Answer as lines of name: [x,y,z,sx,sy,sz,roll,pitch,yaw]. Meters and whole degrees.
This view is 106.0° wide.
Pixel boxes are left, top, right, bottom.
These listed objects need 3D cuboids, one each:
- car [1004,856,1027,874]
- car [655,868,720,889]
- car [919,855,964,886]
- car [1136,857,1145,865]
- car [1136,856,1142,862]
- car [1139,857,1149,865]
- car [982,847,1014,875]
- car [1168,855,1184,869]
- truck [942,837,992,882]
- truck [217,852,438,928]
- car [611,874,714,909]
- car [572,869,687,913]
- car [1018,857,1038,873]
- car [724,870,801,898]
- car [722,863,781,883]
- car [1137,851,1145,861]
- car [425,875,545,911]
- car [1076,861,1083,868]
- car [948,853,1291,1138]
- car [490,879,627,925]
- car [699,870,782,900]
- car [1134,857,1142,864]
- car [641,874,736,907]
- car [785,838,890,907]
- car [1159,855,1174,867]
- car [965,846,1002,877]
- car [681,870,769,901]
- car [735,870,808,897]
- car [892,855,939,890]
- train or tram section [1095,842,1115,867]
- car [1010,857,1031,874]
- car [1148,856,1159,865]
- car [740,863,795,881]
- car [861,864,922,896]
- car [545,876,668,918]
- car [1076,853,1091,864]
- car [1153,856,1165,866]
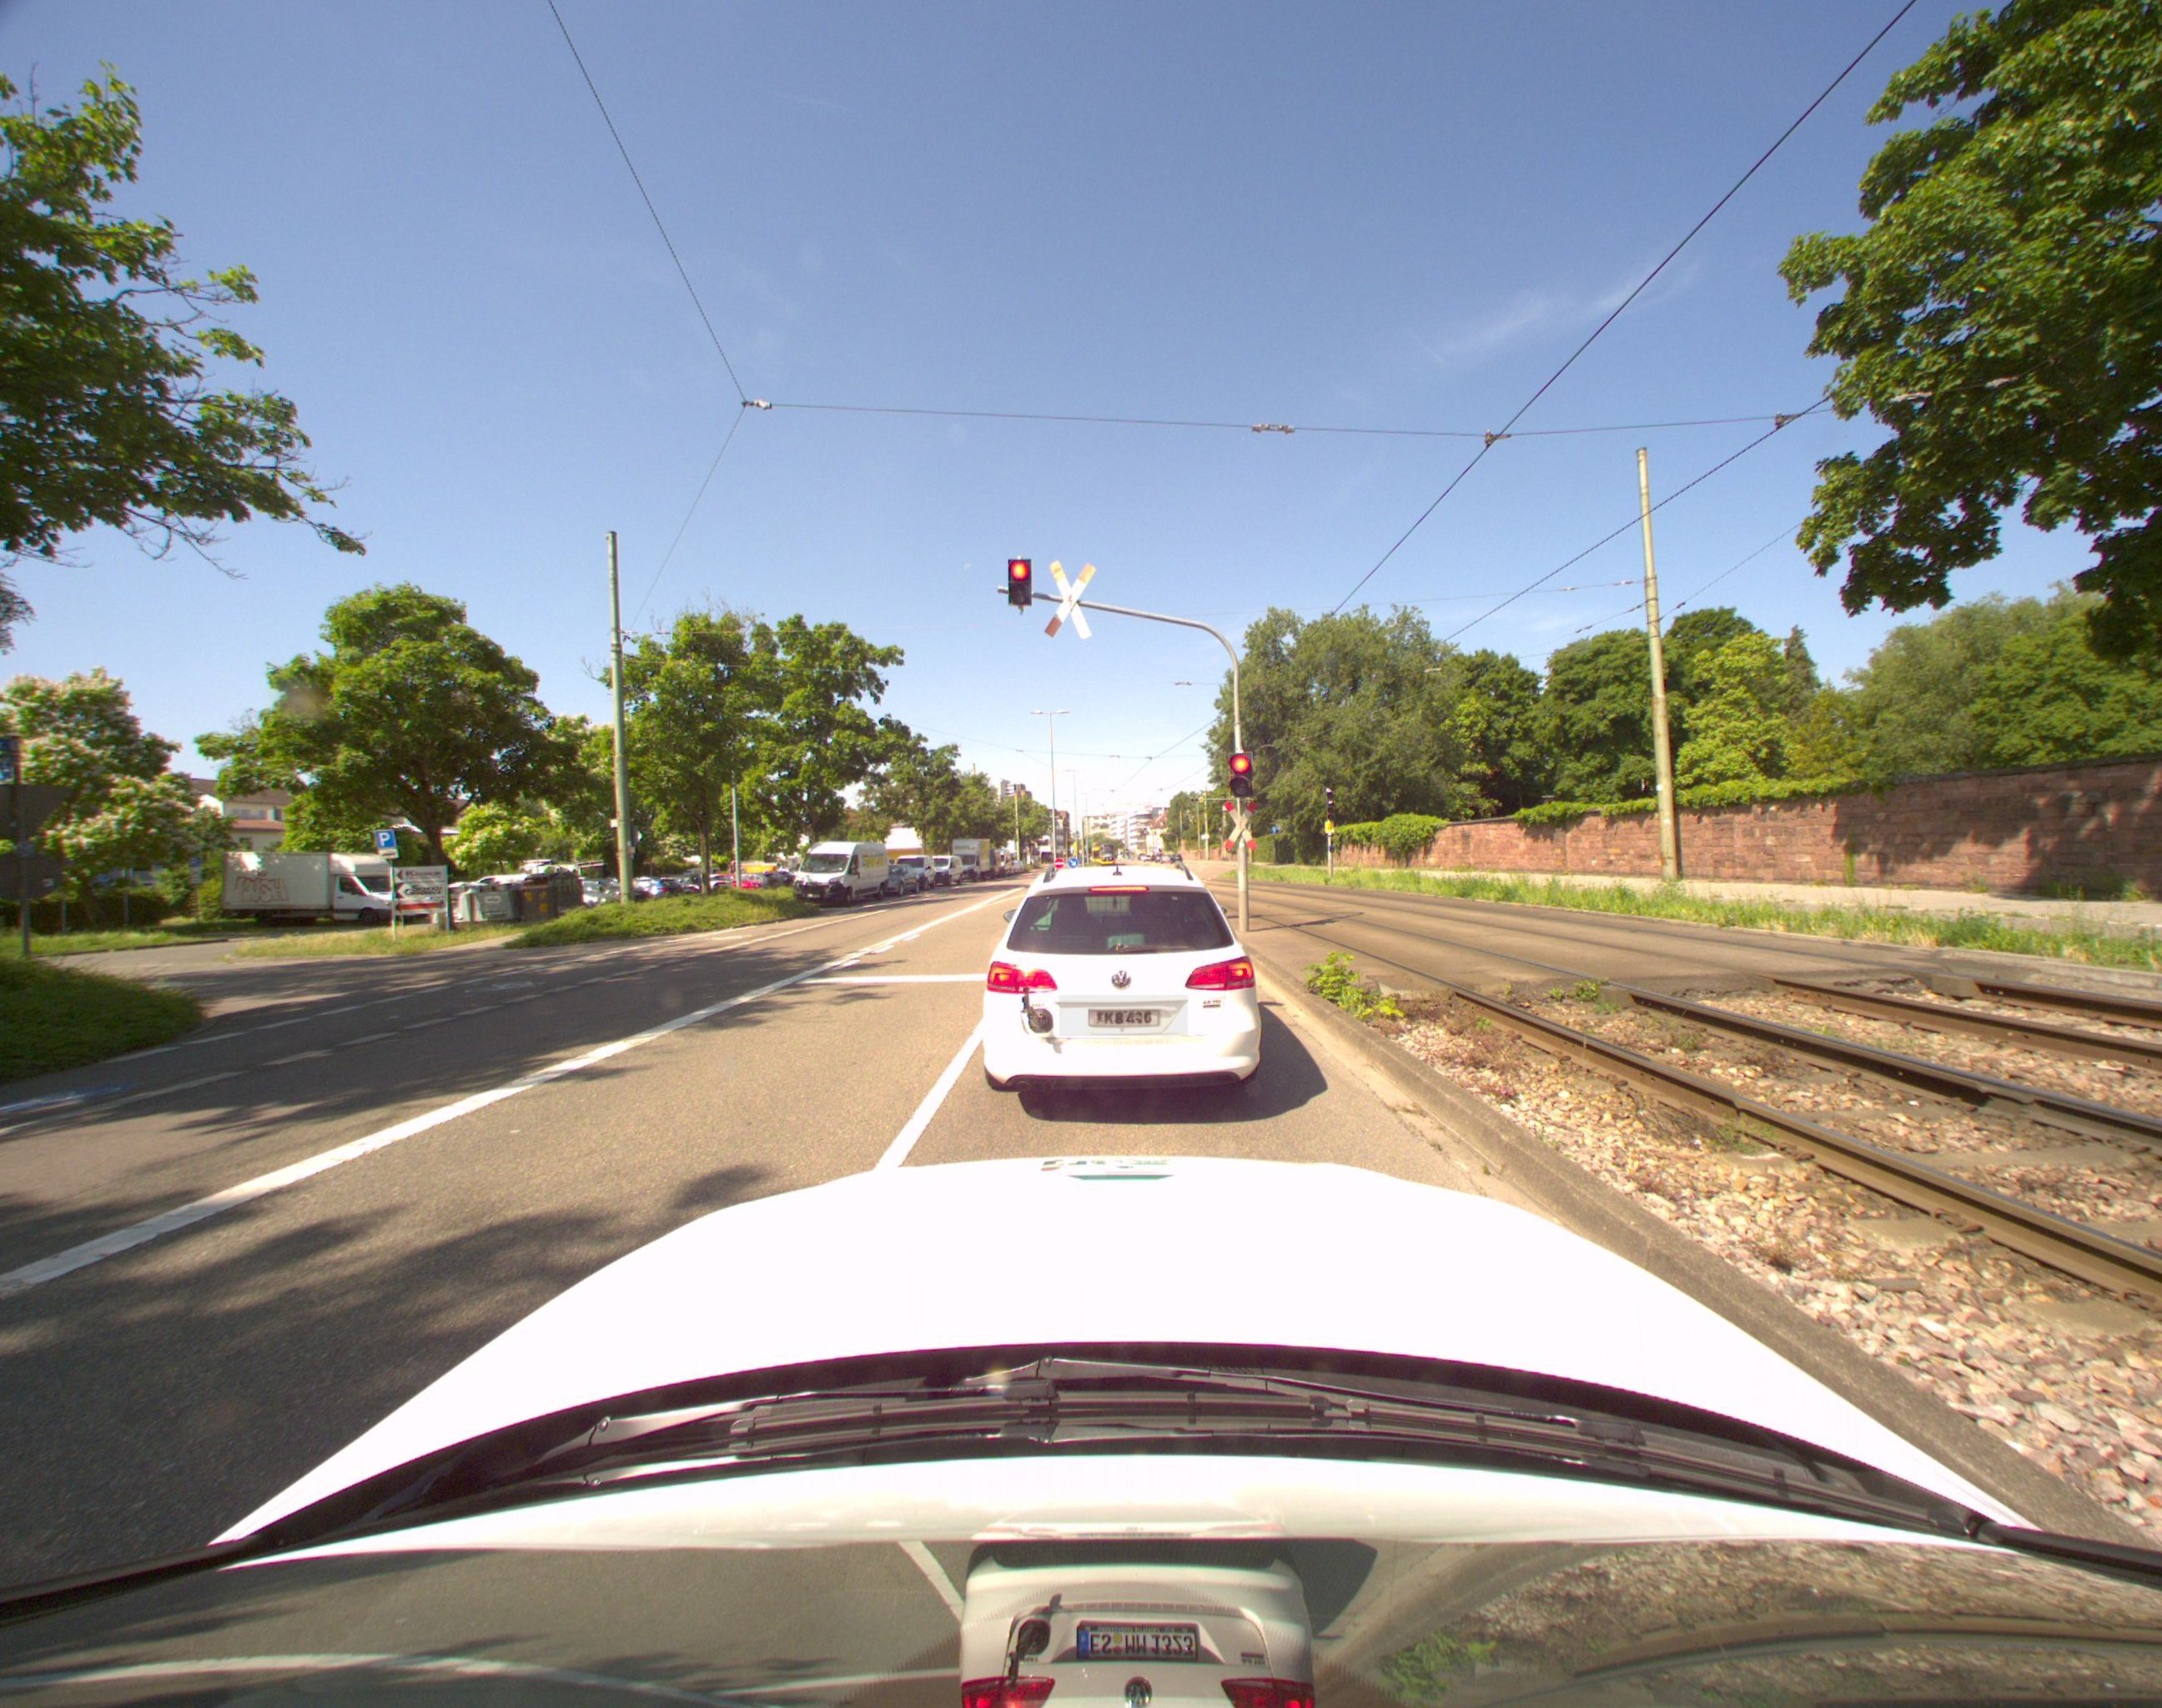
car: [-6.830,1.118,85.206,1.856,1.868,5.415,0,0,1]
car: [-35.202,2.188,72.967,4.780,1.787,2.062,0,-1,-3]
car: [-8.873,1.004,52.265,1.856,1.868,5.415,0,0,1]
car: [14.905,1.678,204.107,1.857,1.868,5.063,0,0,1]
car: [18.171,1.580,255.749,1.857,1.868,5.063,0,0,1]
car: [14.388,1.550,185.931,1.857,1.868,5.063,0,0,1]
car: [-7.686,0.668,76.114,2.114,2.516,5.737,0,0,2]
car: [13.575,1.126,116.485,1.857,1.868,5.063,0,0,1]
truck: [-8.377,0.353,60.686,2.411,3.150,7.001,0,0,2]
truck: [-32.389,1.515,35.201,6.979,3.110,2.677,0,0,0]
car: [-20.297,1.799,39.599,3.977,1.415,1.729,-4,-1,-3]
car: [-19.918,1.622,36.063,3.977,1.610,1.729,-4,-1,-3]
car: [-6.399,1.255,98.936,1.856,1.868,5.415,0,0,1]
car: [-19.465,1.814,49.876,3.977,1.415,1.729,-4,-1,-3]
car: [-31.474,1.810,77.858,4.780,1.787,2.062,0,-1,-3]
car: [17.432,0.575,238.640,2.049,2.759,5.632,0,0,1]
car: [-31.770,2.042,43.512,4.780,1.787,2.062,0,-1,-3]
car: [-0.443,2.794,216.998,1.756,1.896,4.916,0,-1,2]
car: [0.265,0.752,6.314,1.756,1.430,4.002,-3,0,2]
car: [-19.927,1.821,31.170,3.977,1.415,1.729,-4,-1,-3]
car: [-19.611,1.760,47.060,3.977,1.415,1.729,-4,-1,-3]
car: [15.163,1.764,217.799,1.857,1.868,5.063,0,0,1]
car: [-20.289,1.862,42.185,3.977,1.415,1.729,-4,-1,-3]
car: [-9.582,0.680,32.670,2.114,2.516,5.822,0,0,3]
car: [13.604,1.096,129.497,1.857,1.868,5.063,0,0,1]
car: [-8.152,0.608,68.685,2.114,2.516,5.737,0,0,2]
car: [-19.516,1.714,44.727,3.977,1.415,1.729,-4,-1,-3]
car: [-19.795,1.859,52.183,3.977,1.415,1.729,-4,-1,-3]
car: [-9.196,0.984,45.684,1.859,1.868,5.068,0,0,-4]
train or tram section: [3.986,0.015,134.739,2.860,3.855,12.396,-3,0,2]
car: [-6.780,1.301,92.023,1.856,1.868,5.415,0,0,1]
car: [14.486,1.314,162.484,1.857,1.868,5.063,0,0,1]
car: [-31.779,1.852,82.773,4.780,1.787,2.062,0,-1,-3]
car: [-9.017,1.216,39.102,1.856,1.415,4.281,0,0,1]
car: [-19.669,1.763,33.856,3.977,1.415,1.729,-4,-1,-3]
car: [0.359,0.580,112.567,1.698,1.473,4.593,-3,0,3]
car: [13.935,1.213,145.955,1.857,1.868,5.063,0,0,1]
